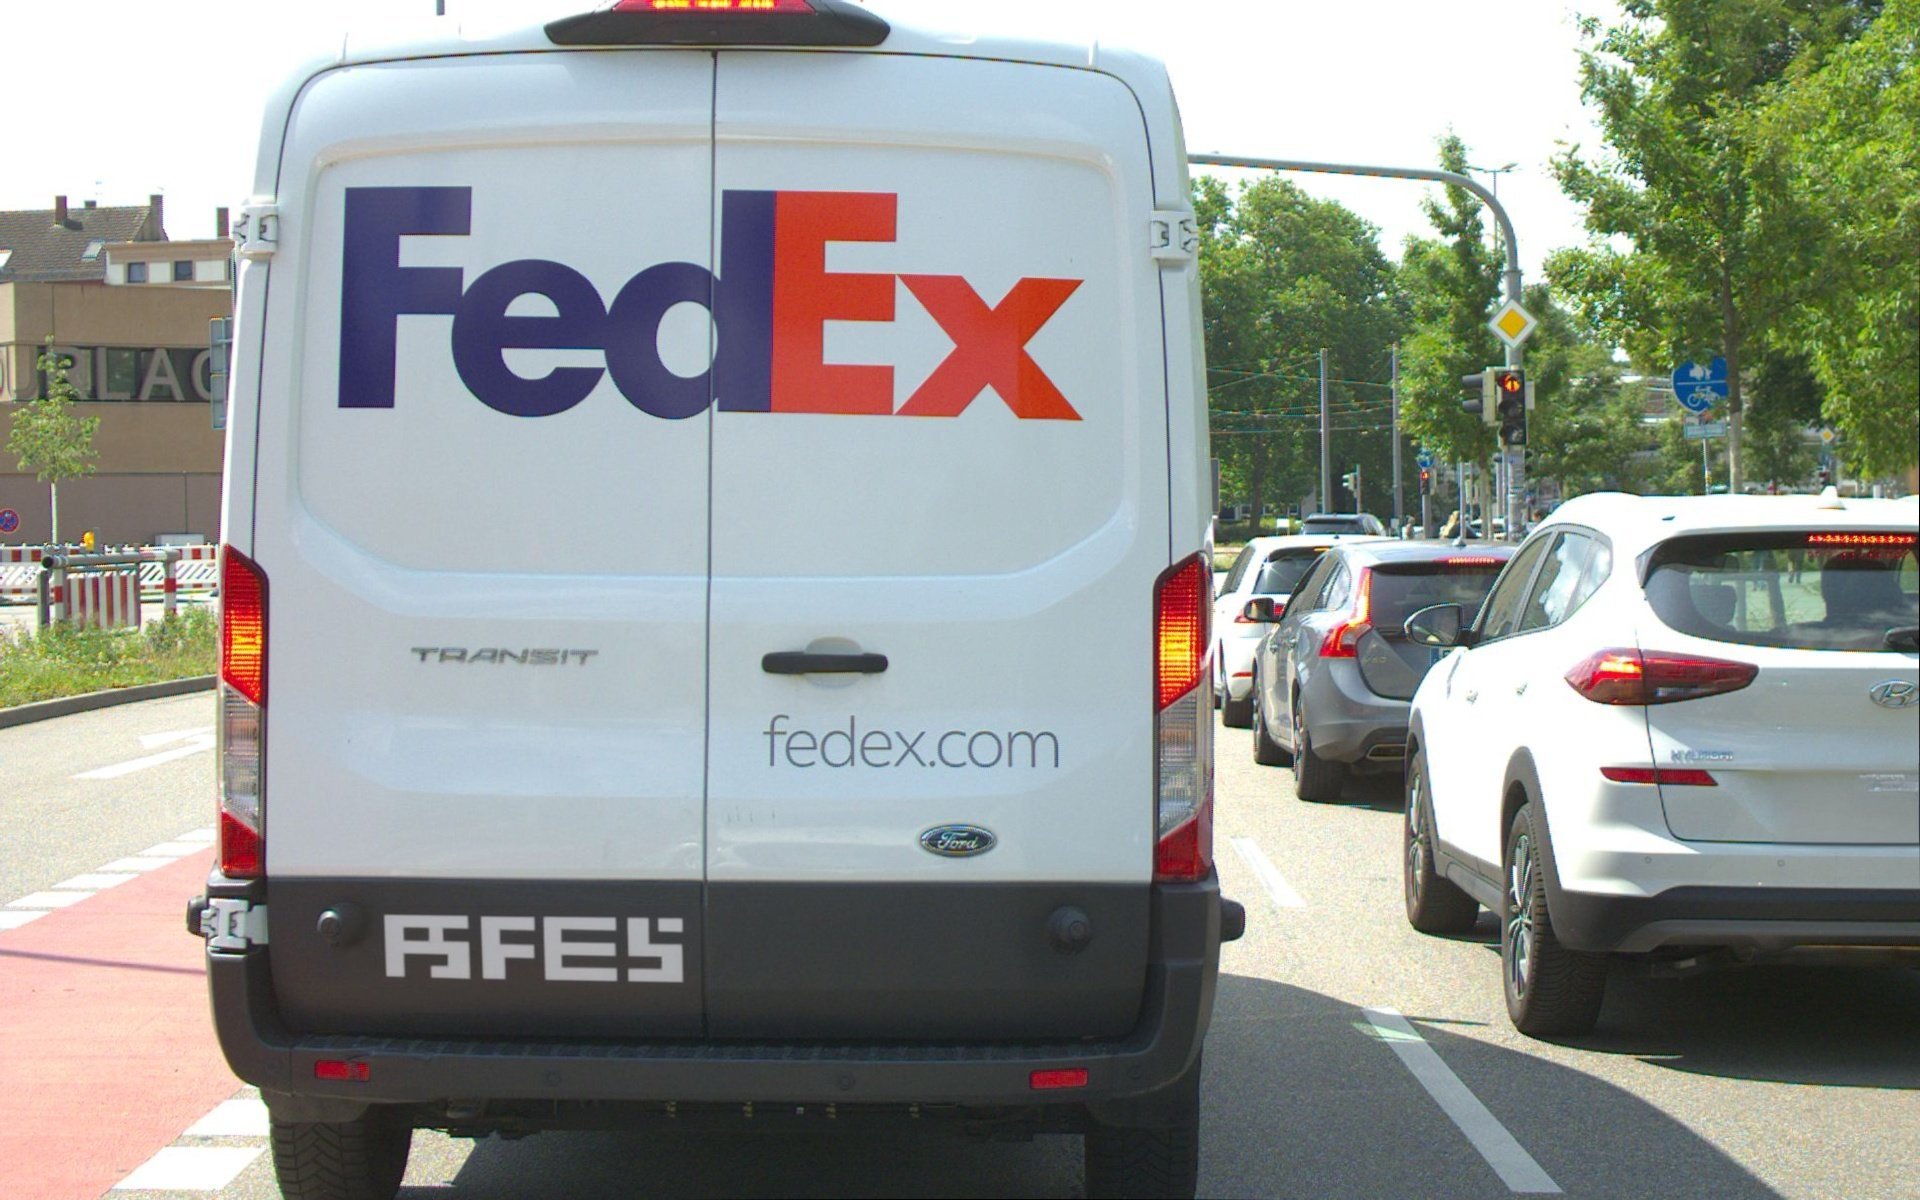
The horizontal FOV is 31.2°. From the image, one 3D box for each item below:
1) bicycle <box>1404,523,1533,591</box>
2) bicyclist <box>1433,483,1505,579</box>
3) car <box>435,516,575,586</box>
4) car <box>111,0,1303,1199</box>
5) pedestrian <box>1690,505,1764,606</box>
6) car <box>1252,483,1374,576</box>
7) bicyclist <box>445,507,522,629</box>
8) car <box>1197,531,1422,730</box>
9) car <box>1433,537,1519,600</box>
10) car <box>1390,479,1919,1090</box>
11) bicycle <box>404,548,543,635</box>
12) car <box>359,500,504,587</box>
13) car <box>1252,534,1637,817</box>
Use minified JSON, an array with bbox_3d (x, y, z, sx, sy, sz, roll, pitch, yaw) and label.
[{"bbox_3d":[7.927,-0.672,53.621,1.920,1.027,0.548,-1,1,-13],"label":"bicycle"},{"bbox_3d":[7.940,-1.077,53.606,0.967,1.469,0.552,-1,1,-15],"label":"bicyclist"},{"bbox_3d":[-10.646,-1.149,80.675,1.902,1.579,3.998,-1,1,14],"label":"car"},{"bbox_3d":[-0.578,0.004,9.049,2.140,2.643,5.705,0,1,-3],"label":"car"},{"bbox_3d":[10.577,-0.620,47.449,0.845,1.384,0.741,-1,1,-1],"label":"pedestrian"},{"bbox_3d":[7.950,-1.572,77.092,2.094,2.007,4.641,-1,1,13],"label":"car"},{"bbox_3d":[-7.259,-0.490,52.382,1.119,1.838,0.593,-1,2,-8],"label":"bicyclist"},{"bbox_3d":[2.676,0.189,26.904,1.484,1.423,3.433,0,2,1],"label":"car"},{"bbox_3d":[15.241,-0.940,101.413,1.995,1.787,4.368,-1,1,15],"label":"car"},{"bbox_3d":[2.542,0.454,11.470,1.798,1.681,4.000,0,2,1],"label":"car"},{"bbox_3d":[-7.401,-0.130,52.376,2.064,1.285,0.604,-1,1,-7],"label":"bicycle"},{"bbox_3d":[-12.604,-1.347,82.223,1.995,2.007,3.998,-1,1,14],"label":"car"},{"bbox_3d":[2.729,0.364,20.124,1.798,1.456,3.838,0,2,1],"label":"car"}]
